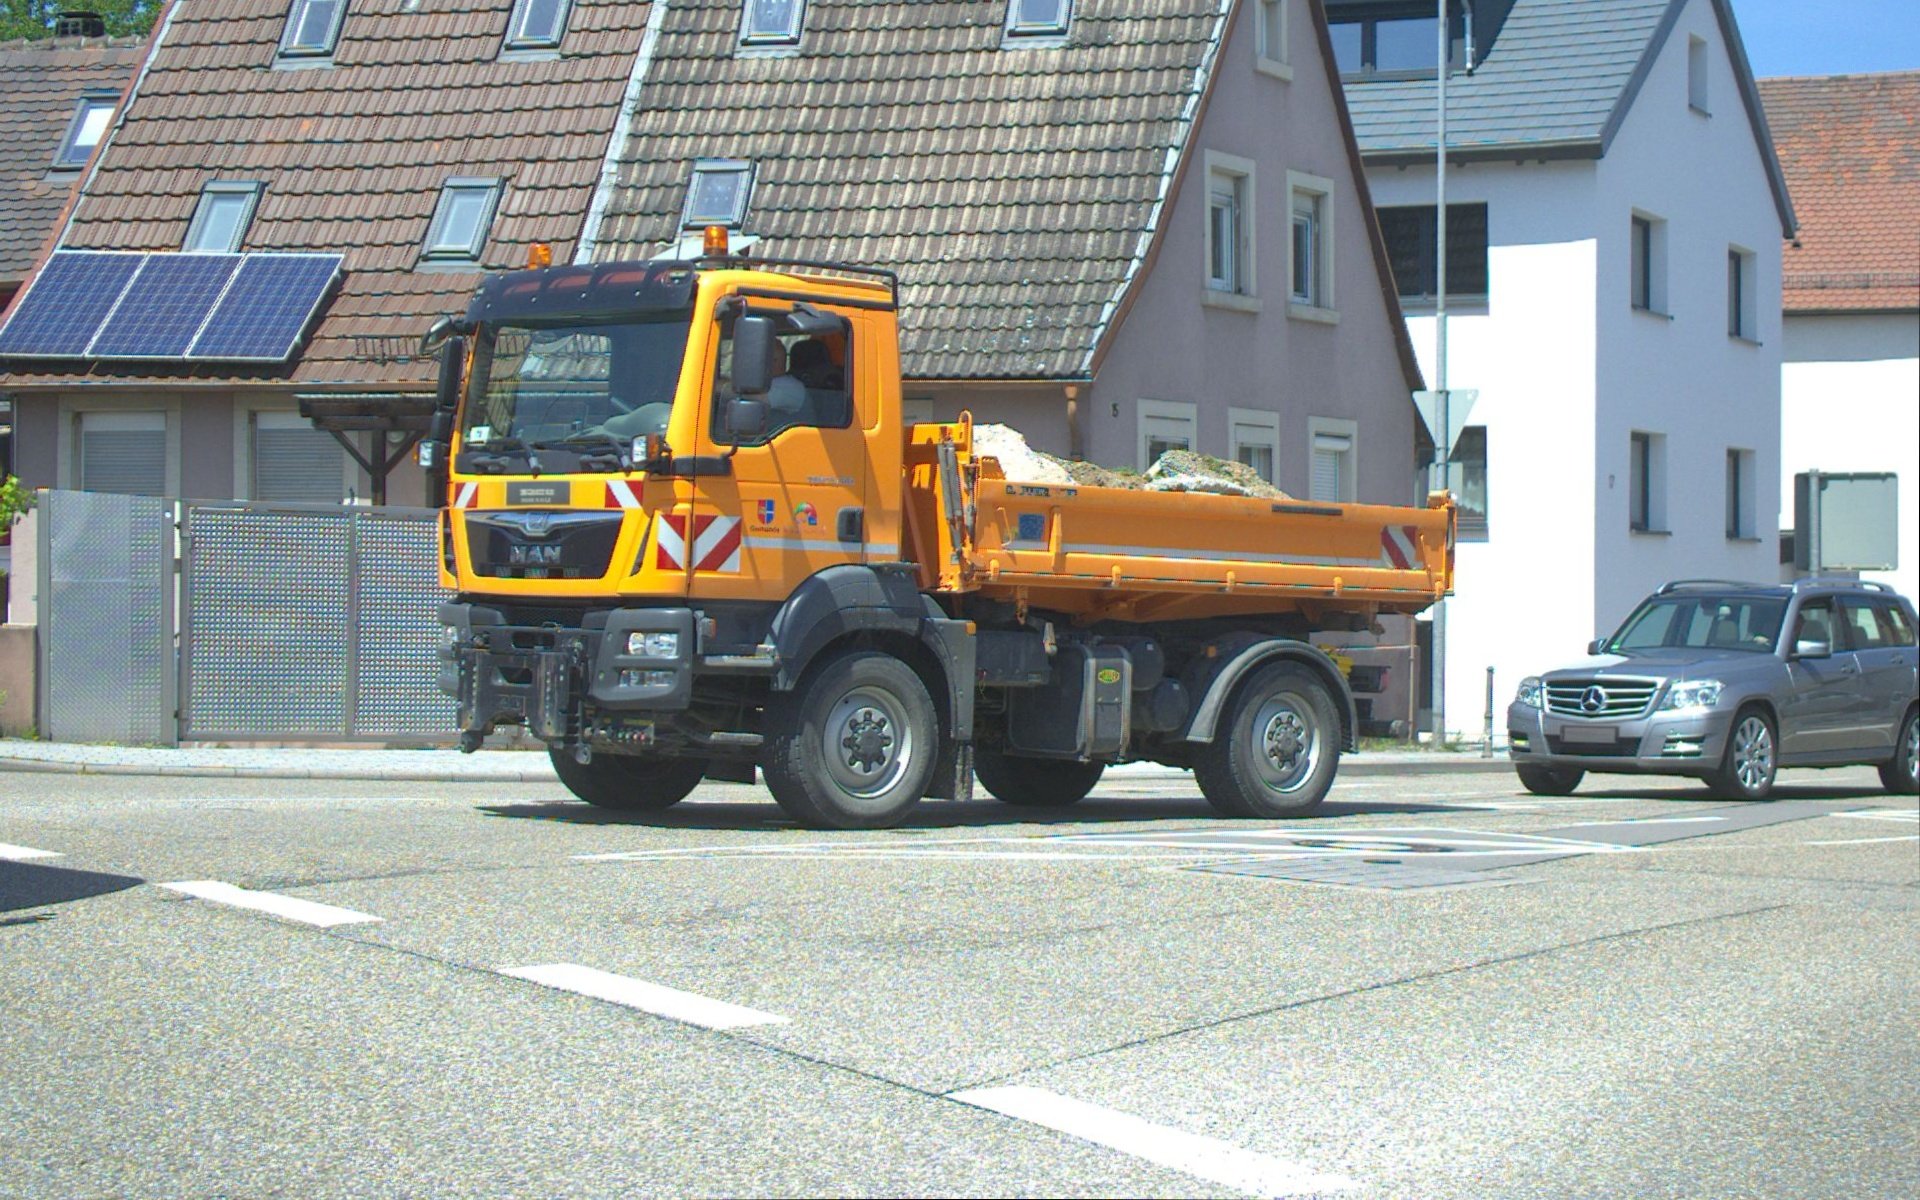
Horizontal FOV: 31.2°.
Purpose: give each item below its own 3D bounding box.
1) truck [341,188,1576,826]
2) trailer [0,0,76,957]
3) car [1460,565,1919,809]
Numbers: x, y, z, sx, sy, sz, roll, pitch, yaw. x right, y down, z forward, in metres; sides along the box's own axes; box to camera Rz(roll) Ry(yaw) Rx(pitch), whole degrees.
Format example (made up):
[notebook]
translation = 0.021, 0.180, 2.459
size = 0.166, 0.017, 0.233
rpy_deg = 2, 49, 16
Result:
[truck]
translation = 0.266, -0.357, 20.543
size = 7.441, 3.170, 2.668
rpy_deg = 2, -1, -42
[trailer]
translation = -8.345, -0.852, 15.538
size = 2.954, 3.934, 11.612
rpy_deg = 1, 1, -44
[car]
translation = 5.847, 0.642, 26.144
size = 1.998, 1.669, 4.302
rpy_deg = 1, 0, 41
